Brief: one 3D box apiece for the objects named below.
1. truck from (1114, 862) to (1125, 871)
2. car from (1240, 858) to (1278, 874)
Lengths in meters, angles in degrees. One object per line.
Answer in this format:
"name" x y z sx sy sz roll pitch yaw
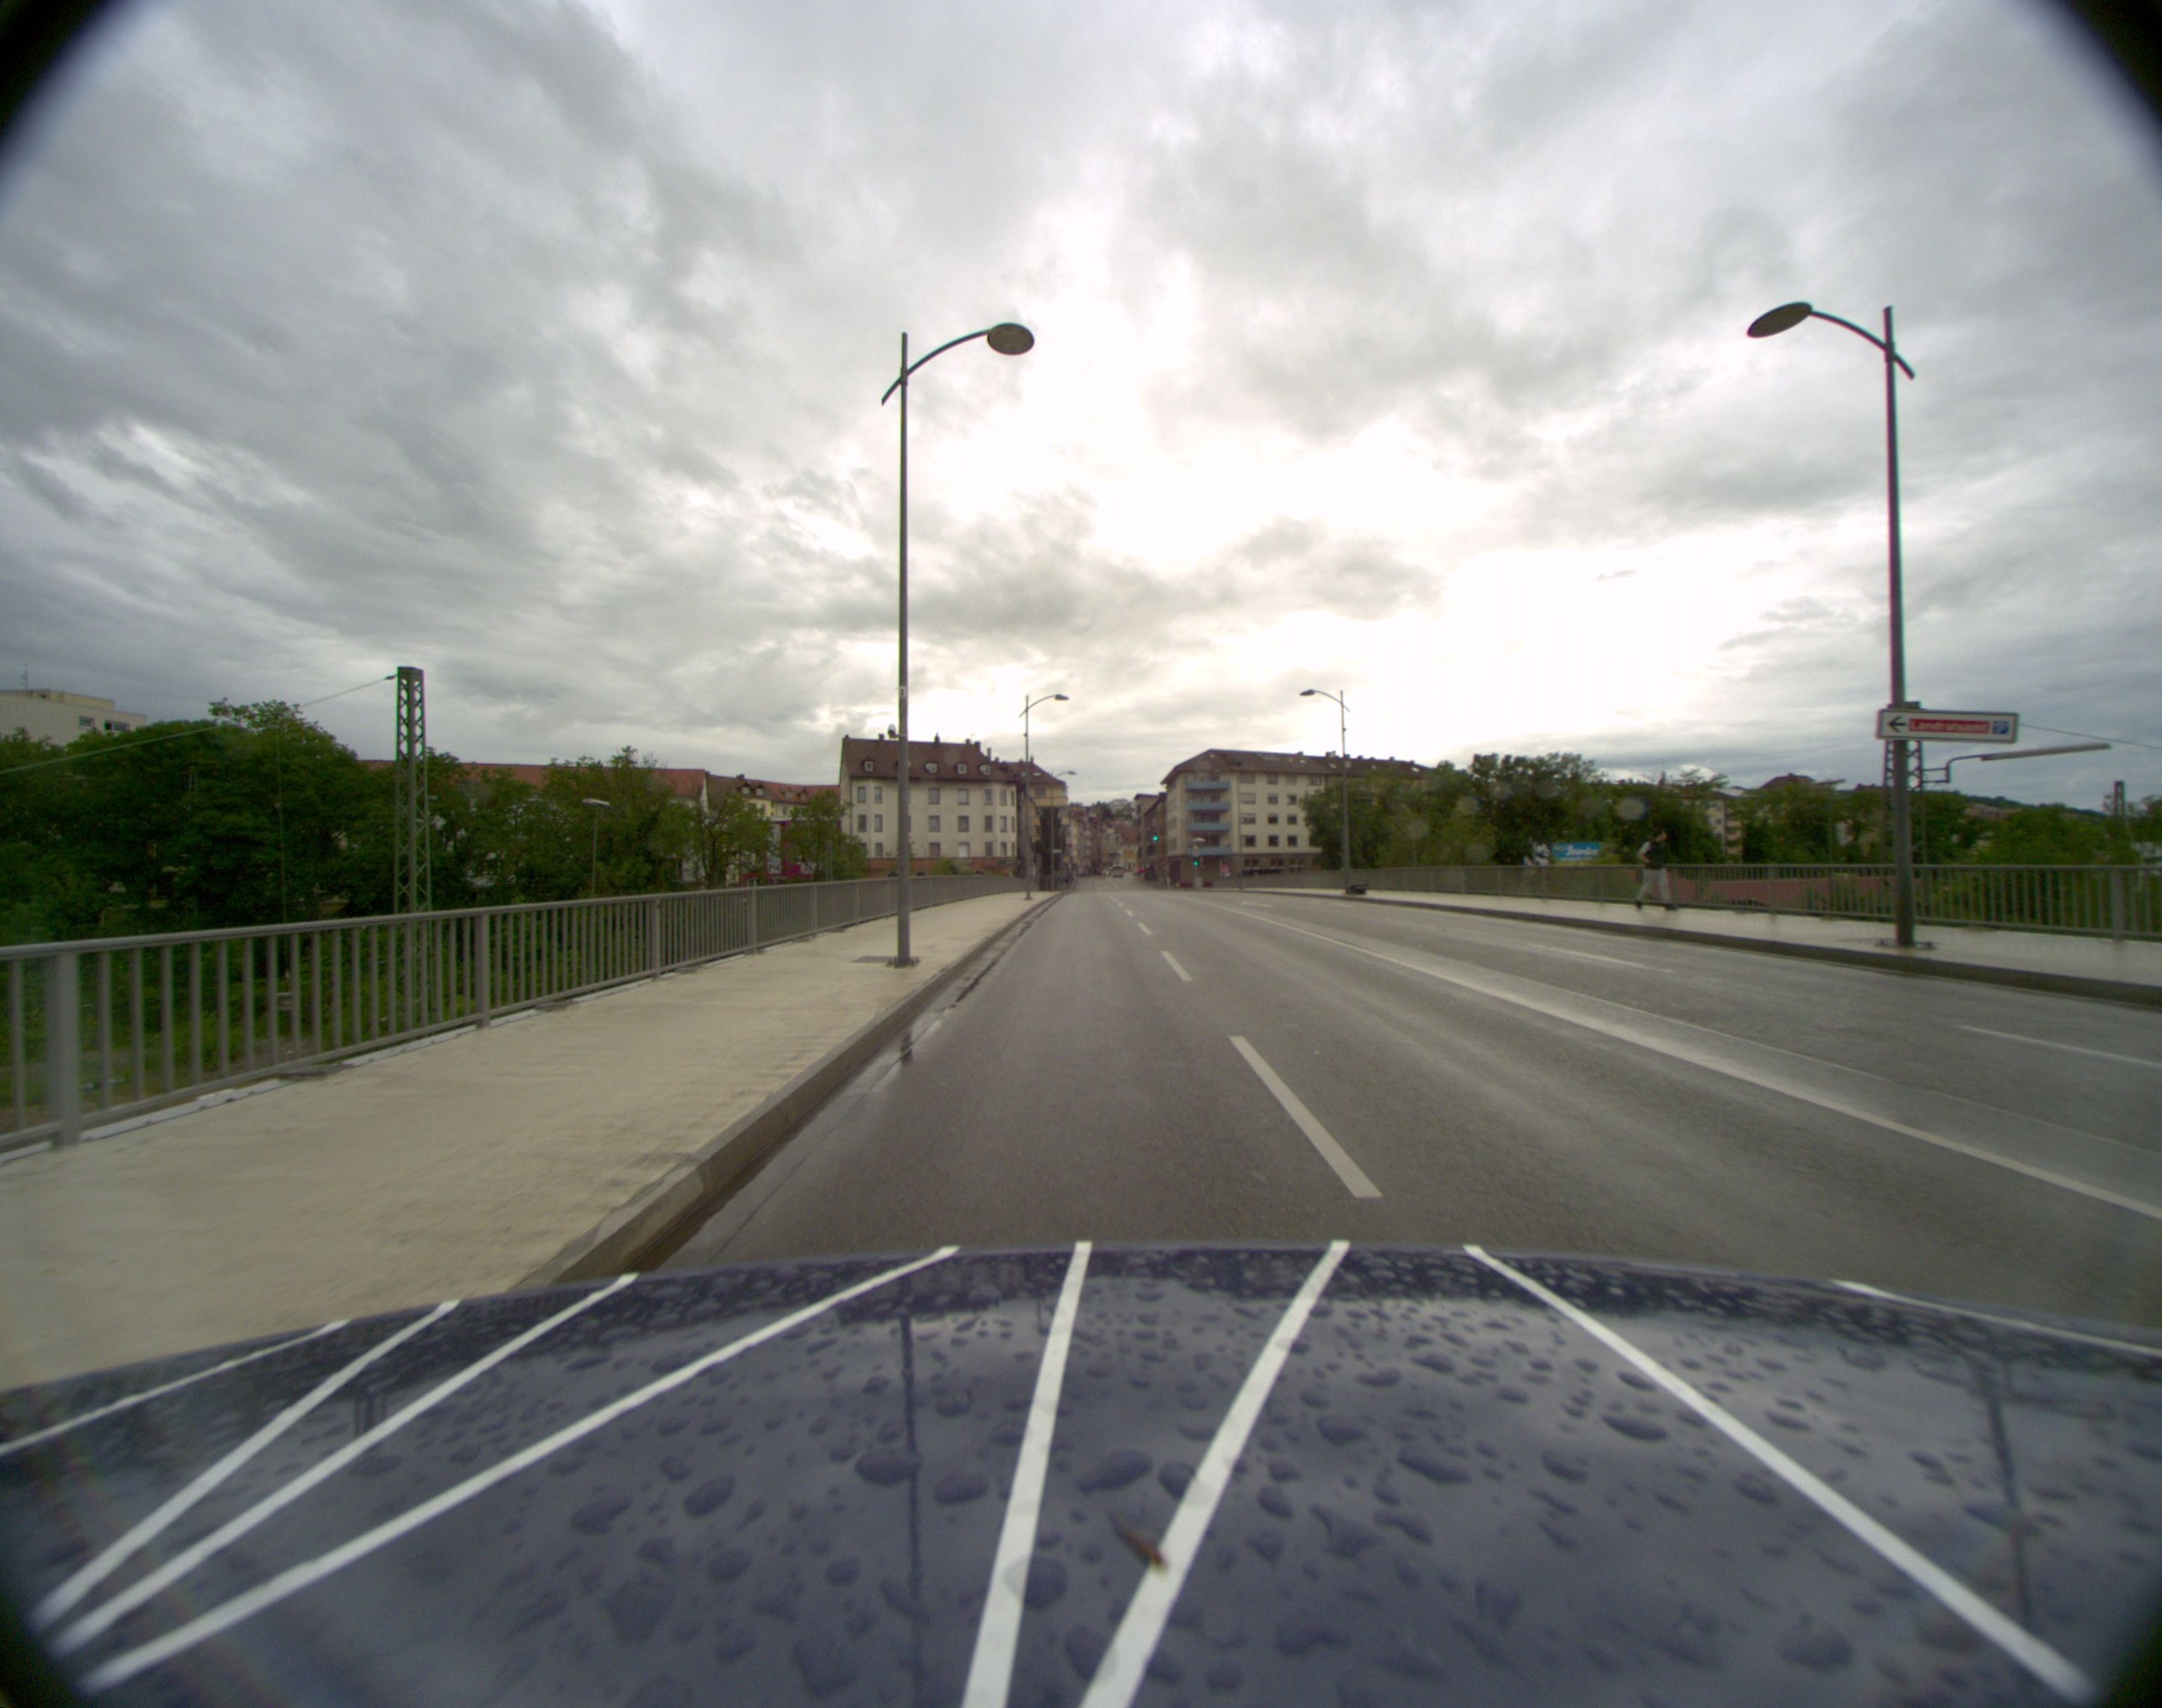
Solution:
"truck" 9.473 2.999 186.398 2.475 2.002 4.820 -2 0 1
"car" 23.595 1.617 100.574 4.359 2.001 2.131 -2 -1 -20
